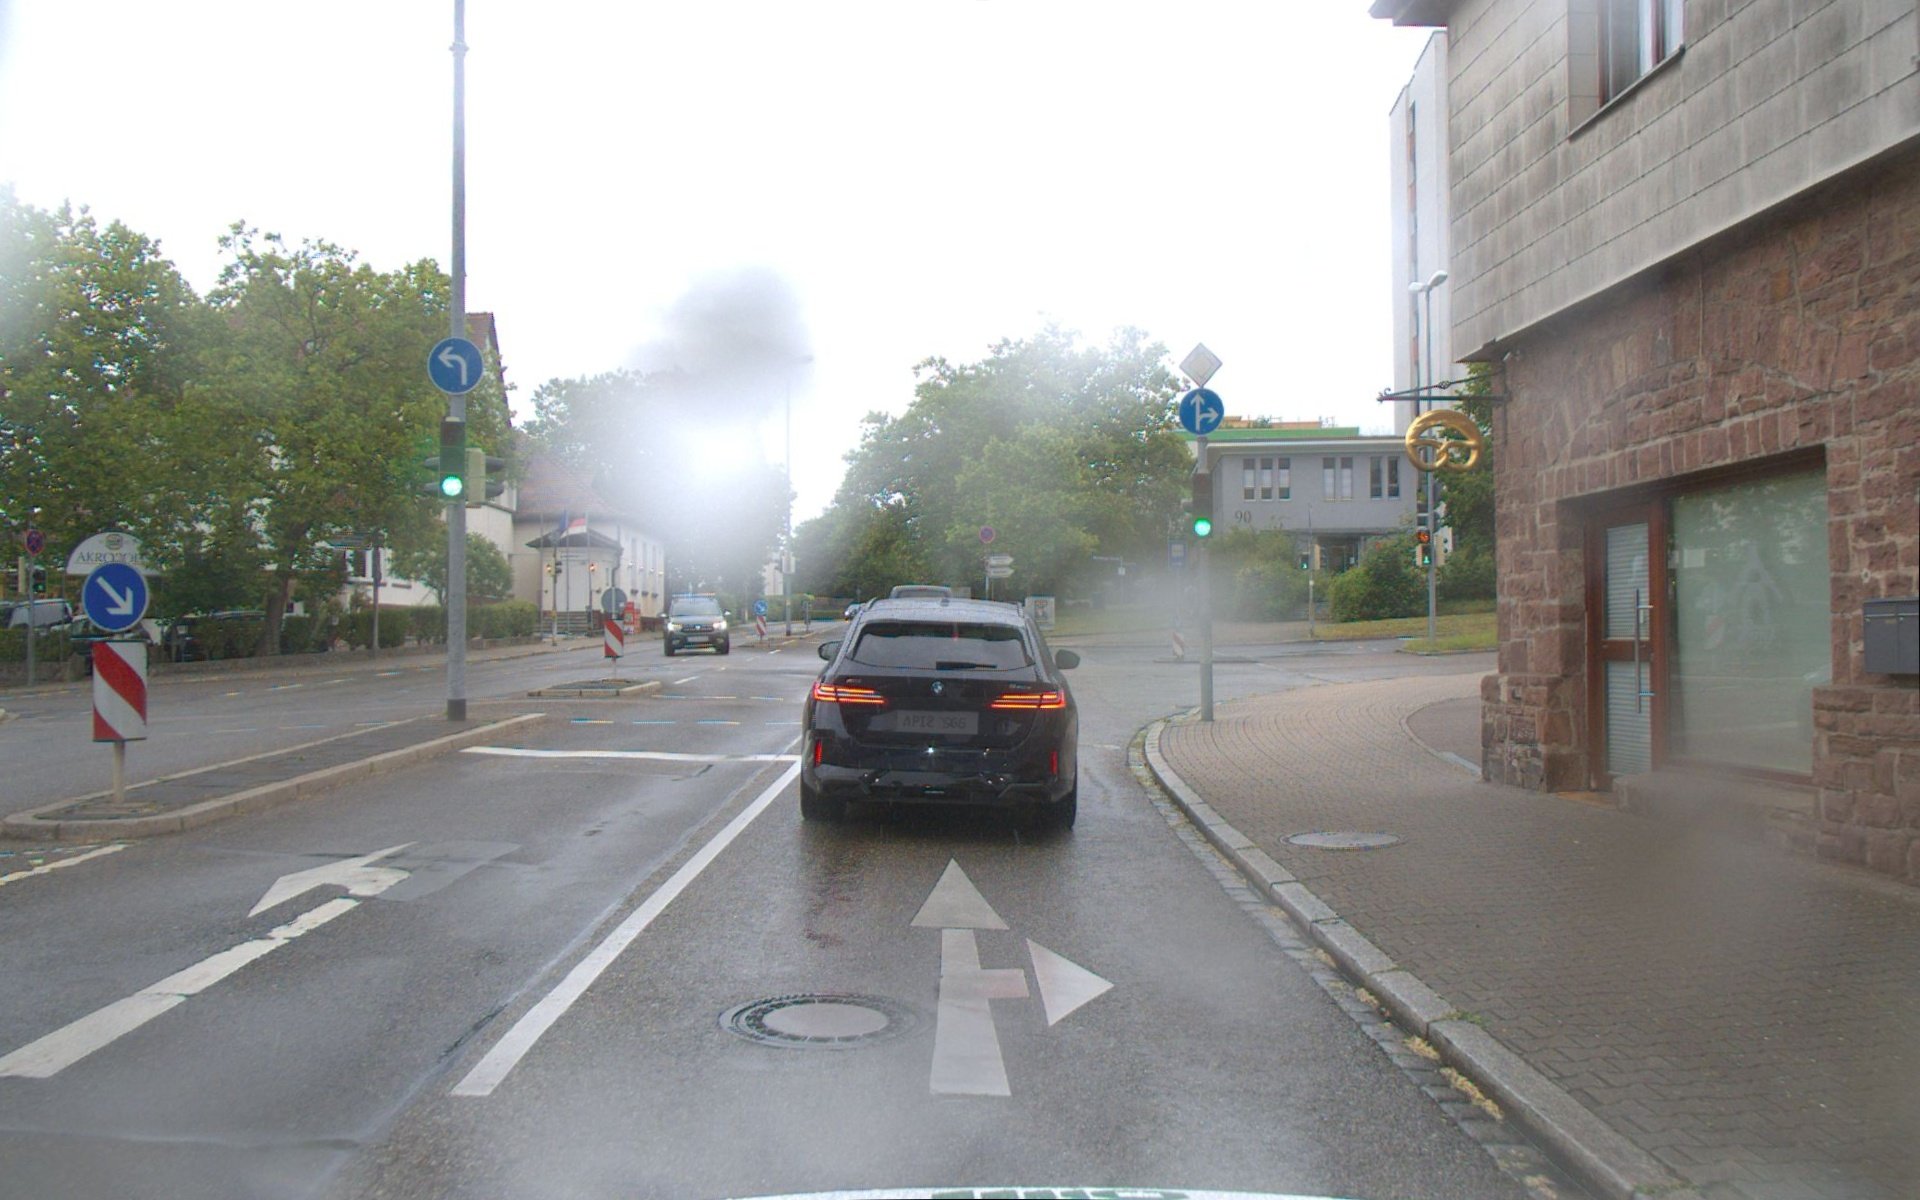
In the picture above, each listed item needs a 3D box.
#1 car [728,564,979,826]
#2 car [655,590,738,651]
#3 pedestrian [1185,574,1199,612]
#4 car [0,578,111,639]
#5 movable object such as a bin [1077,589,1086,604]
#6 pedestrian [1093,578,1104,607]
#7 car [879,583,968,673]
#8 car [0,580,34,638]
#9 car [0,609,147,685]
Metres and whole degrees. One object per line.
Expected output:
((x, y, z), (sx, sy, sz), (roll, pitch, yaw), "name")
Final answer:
((-0.751, 0.600, 11.842), (1.494, 1.561, 3.529), (1, -1, -4), "car")
((-7.351, 0.530, 46.567), (1.861, 1.605, 4.499), (0, 1, -4), "car")
((10.280, -0.302, 73.231), (0.588, 1.645, 0.526), (1, -1, 6), "pedestrian")
((-31.922, 0.306, 58.448), (1.954, 2.049, 3.996), (1, -1, -5), "car")
((7.422, -0.214, 101.237), (0.440, 0.921, 0.463), (1, -1, 15), "movable object such as a bin")
((8.807, -0.476, 105.184), (0.546, 1.794, 0.727), (1, -1, -5), "pedestrian")
((-0.847, 0.611, 36.484), (1.776, 1.840, 3.753), (1, -1, -4), "car")
((-34.593, 0.288, 58.198), (1.954, 2.049, 3.996), (1, -1, -5), "car")
((-22.810, 1.173, 42.733), (1.772, 1.578, 4.000), (1, 3, -3), "car")
